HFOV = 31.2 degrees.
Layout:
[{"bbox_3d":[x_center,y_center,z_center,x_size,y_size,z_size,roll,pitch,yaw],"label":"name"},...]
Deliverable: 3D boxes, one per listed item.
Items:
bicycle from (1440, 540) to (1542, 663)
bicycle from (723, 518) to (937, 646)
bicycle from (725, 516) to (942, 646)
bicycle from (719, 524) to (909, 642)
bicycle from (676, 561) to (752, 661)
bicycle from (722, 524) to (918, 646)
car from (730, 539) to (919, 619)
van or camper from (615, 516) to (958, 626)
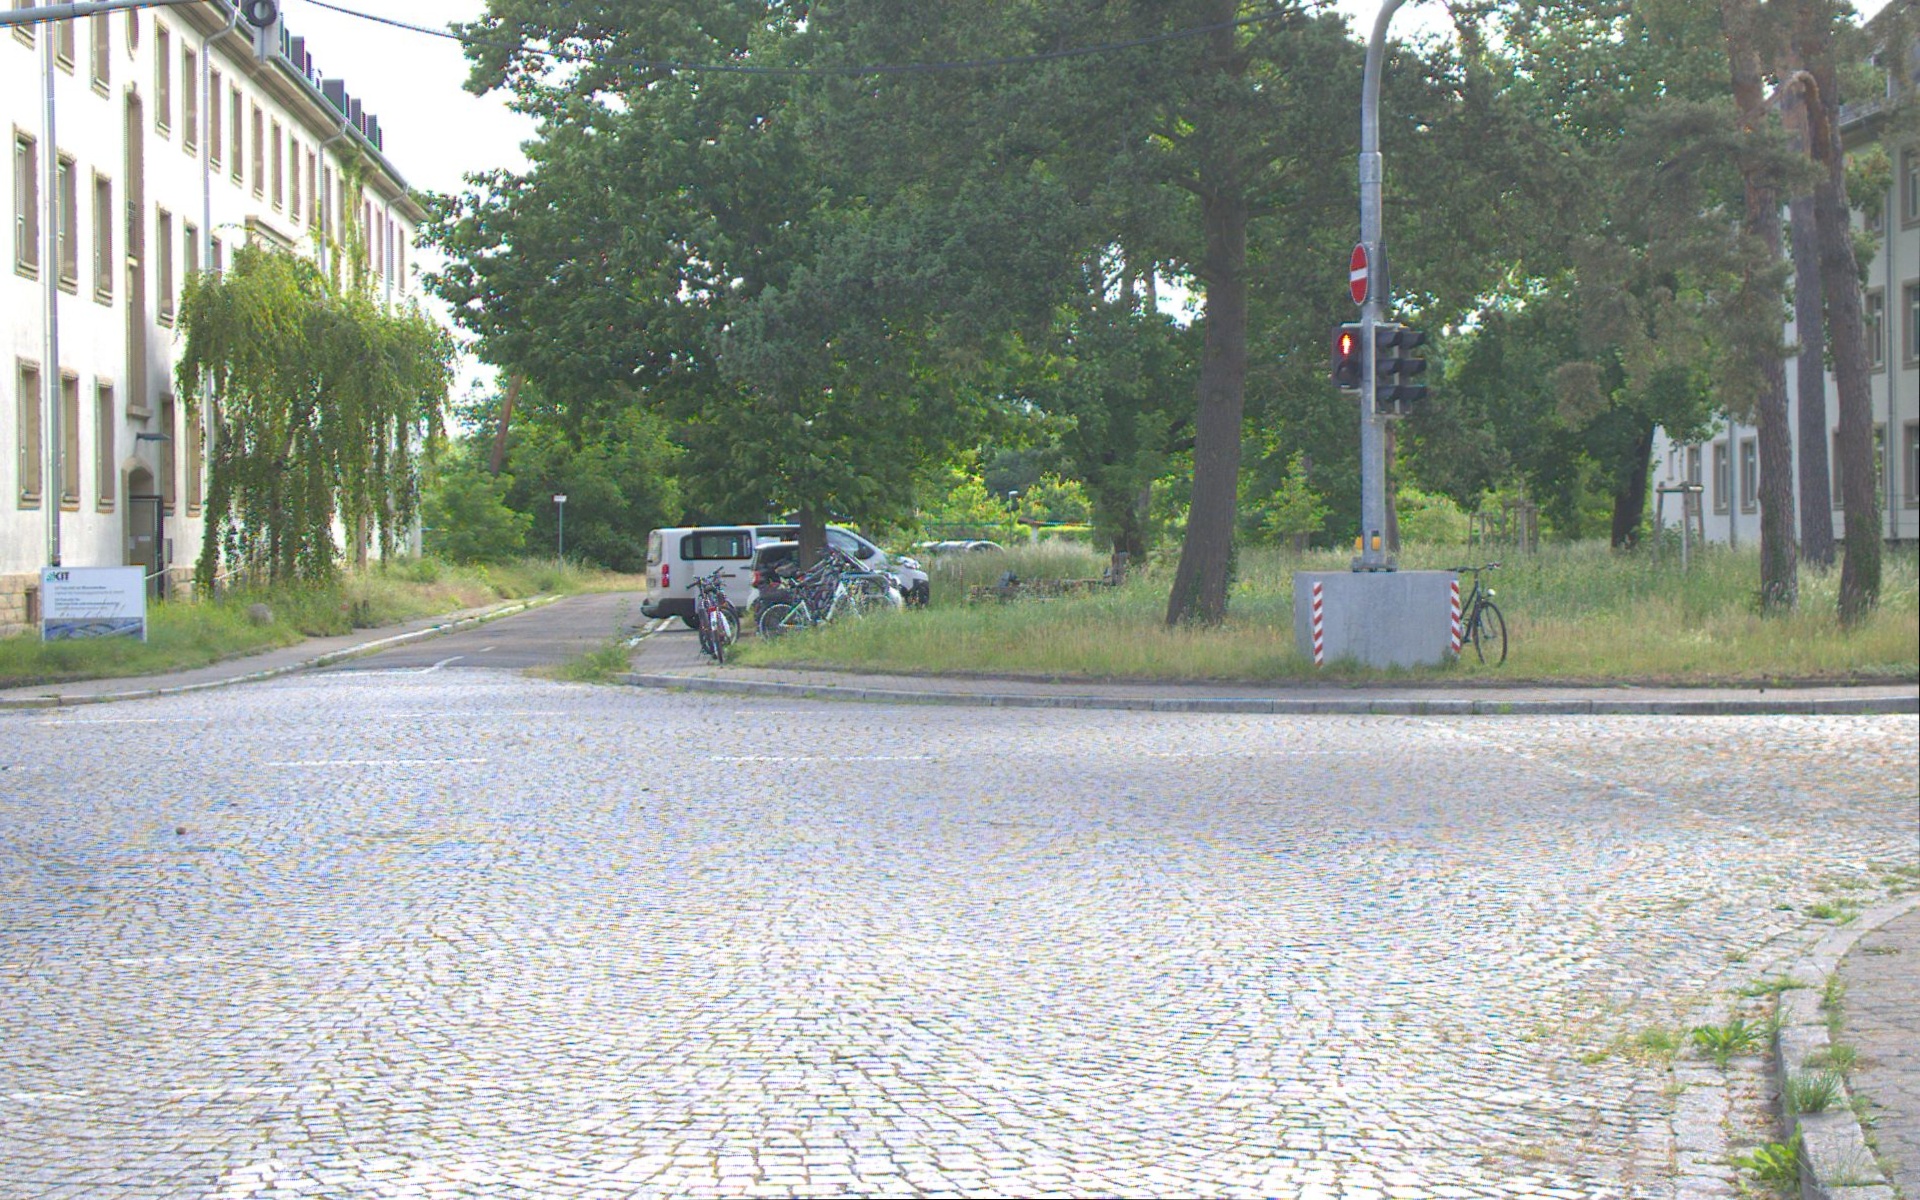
[{"bbox_3d":[5.287,-0.005,34.360,0.724,1.165,2.736,1,1,3],"label":"bicycle"},{"bbox_3d":[-1.791,-0.257,47.040,2.775,1.688,1.120,-1,1,-10],"label":"bicycle"},{"bbox_3d":[-1.701,-0.263,45.848,2.775,1.688,1.120,-1,1,-8],"label":"bicycle"},{"bbox_3d":[-2.197,-0.260,51.931,2.775,1.688,1.120,2,1,-2],"label":"bicycle"},{"bbox_3d":[-2.959,0.116,41.510,0.725,1.104,2.462,-5,1,-2],"label":"bicycle"},{"bbox_3d":[-2.040,-0.223,50.599,2.775,1.688,1.120,2,1,1],"label":"bicycle"},{"bbox_3d":[-2.394,-0.382,60.227,3.137,1.349,1.620,-1,1,-9],"label":"car"},{"bbox_3d":[-3.218,-0.558,63.768,6.030,1.942,2.001,-1,1,-16],"label":"van or camper"}]
